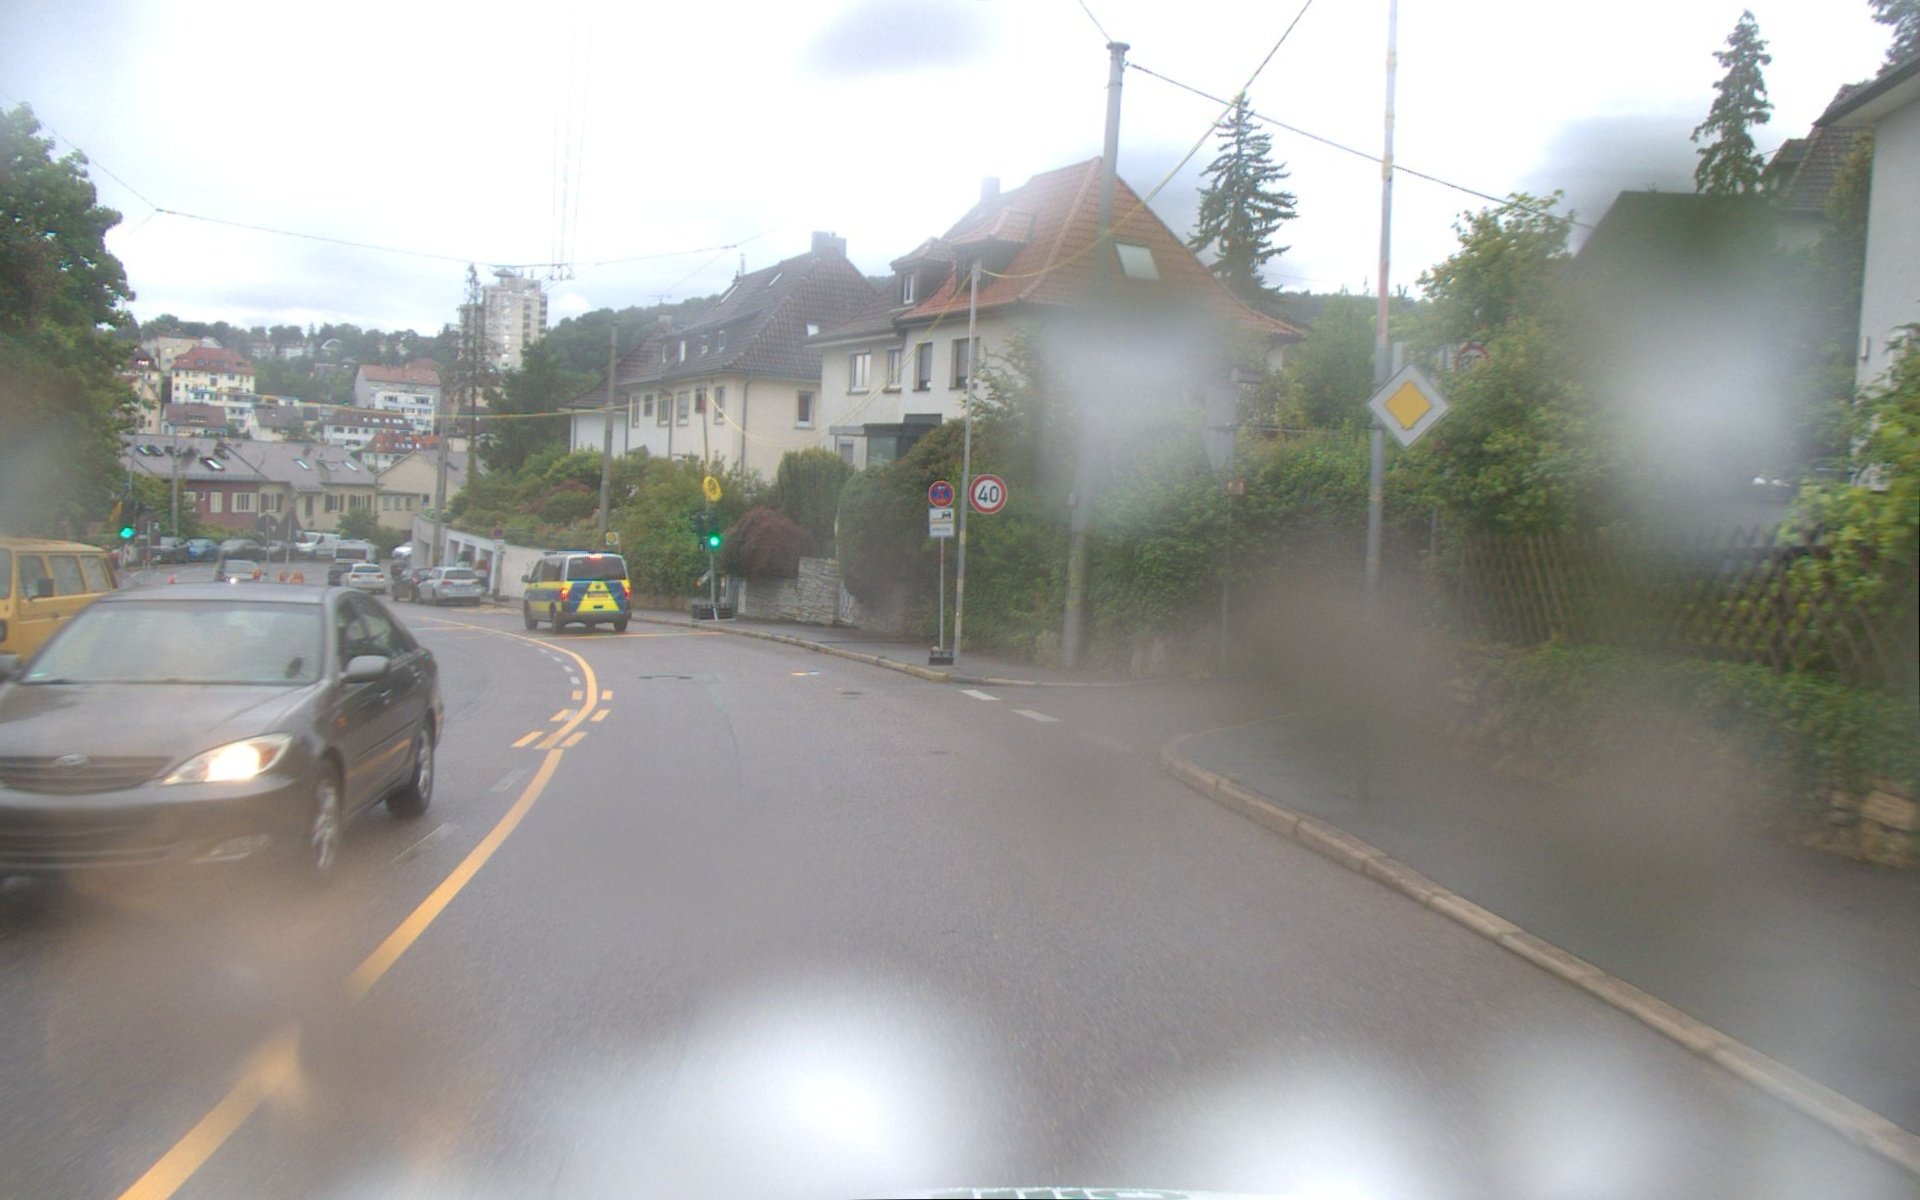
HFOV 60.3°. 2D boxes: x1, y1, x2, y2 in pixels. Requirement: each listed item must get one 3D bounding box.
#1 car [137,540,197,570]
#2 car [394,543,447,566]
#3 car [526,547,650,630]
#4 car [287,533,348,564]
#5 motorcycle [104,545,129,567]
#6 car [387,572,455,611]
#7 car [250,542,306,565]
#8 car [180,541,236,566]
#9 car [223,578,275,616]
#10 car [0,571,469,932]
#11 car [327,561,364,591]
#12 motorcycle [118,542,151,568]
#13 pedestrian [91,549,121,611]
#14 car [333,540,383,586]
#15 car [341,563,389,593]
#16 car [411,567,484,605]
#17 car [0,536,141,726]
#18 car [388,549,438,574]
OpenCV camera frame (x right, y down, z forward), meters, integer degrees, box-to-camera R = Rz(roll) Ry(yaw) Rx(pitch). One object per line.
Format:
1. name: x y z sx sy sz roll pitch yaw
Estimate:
1. car: -48.540 -2.767 101.317 1.886 1.603 4.382 5 2 -8
2. car: -44.691 -3.732 137.090 1.889 1.659 4.681 5 2 14
3. car: -9.663 -0.315 42.701 2.279 1.973 4.292 -2 1 -24
4. car: -48.003 -3.859 123.598 1.809 2.114 5.025 5 2 9
5. motorcycle: -47.447 -2.495 93.064 0.499 1.159 1.922 1 3 -2
6. car: -22.491 -0.372 68.952 1.699 1.539 3.953 0 1 -34
7. car: -48.521 -3.297 117.792 1.771 1.502 4.525 5 2 3
8. car: -48.401 -3.008 106.560 1.666 1.428 4.471 5 2 -3
9. car: -30.210 -0.166 70.196 1.680 1.486 4.641 -1 2 -28
10. car: -4.054 0.614 9.375 1.757 1.516 4.662 1 1 -8
11. car: -34.197 -1.334 92.056 1.726 1.521 4.163 1 2 -18
12. motorcycle: -47.778 -2.616 95.732 1.765 1.325 0.613 6 2 19
13. pedestrian: -26.275 -0.631 50.889 0.700 1.848 1.135 2 1 -32
14. car: -35.440 -2.214 97.503 2.063 2.586 5.600 1 1 -14
15. car: -29.225 -1.088 81.176 1.685 1.439 4.005 0 1 -28
16. car: -20.073 -0.577 64.715 1.763 1.445 4.384 -1 2 -31
17. car: -11.037 0.301 19.077 1.771 1.961 4.563 0 1 -12
18. car: -37.157 -2.607 112.394 1.644 1.509 4.204 5 1 4
